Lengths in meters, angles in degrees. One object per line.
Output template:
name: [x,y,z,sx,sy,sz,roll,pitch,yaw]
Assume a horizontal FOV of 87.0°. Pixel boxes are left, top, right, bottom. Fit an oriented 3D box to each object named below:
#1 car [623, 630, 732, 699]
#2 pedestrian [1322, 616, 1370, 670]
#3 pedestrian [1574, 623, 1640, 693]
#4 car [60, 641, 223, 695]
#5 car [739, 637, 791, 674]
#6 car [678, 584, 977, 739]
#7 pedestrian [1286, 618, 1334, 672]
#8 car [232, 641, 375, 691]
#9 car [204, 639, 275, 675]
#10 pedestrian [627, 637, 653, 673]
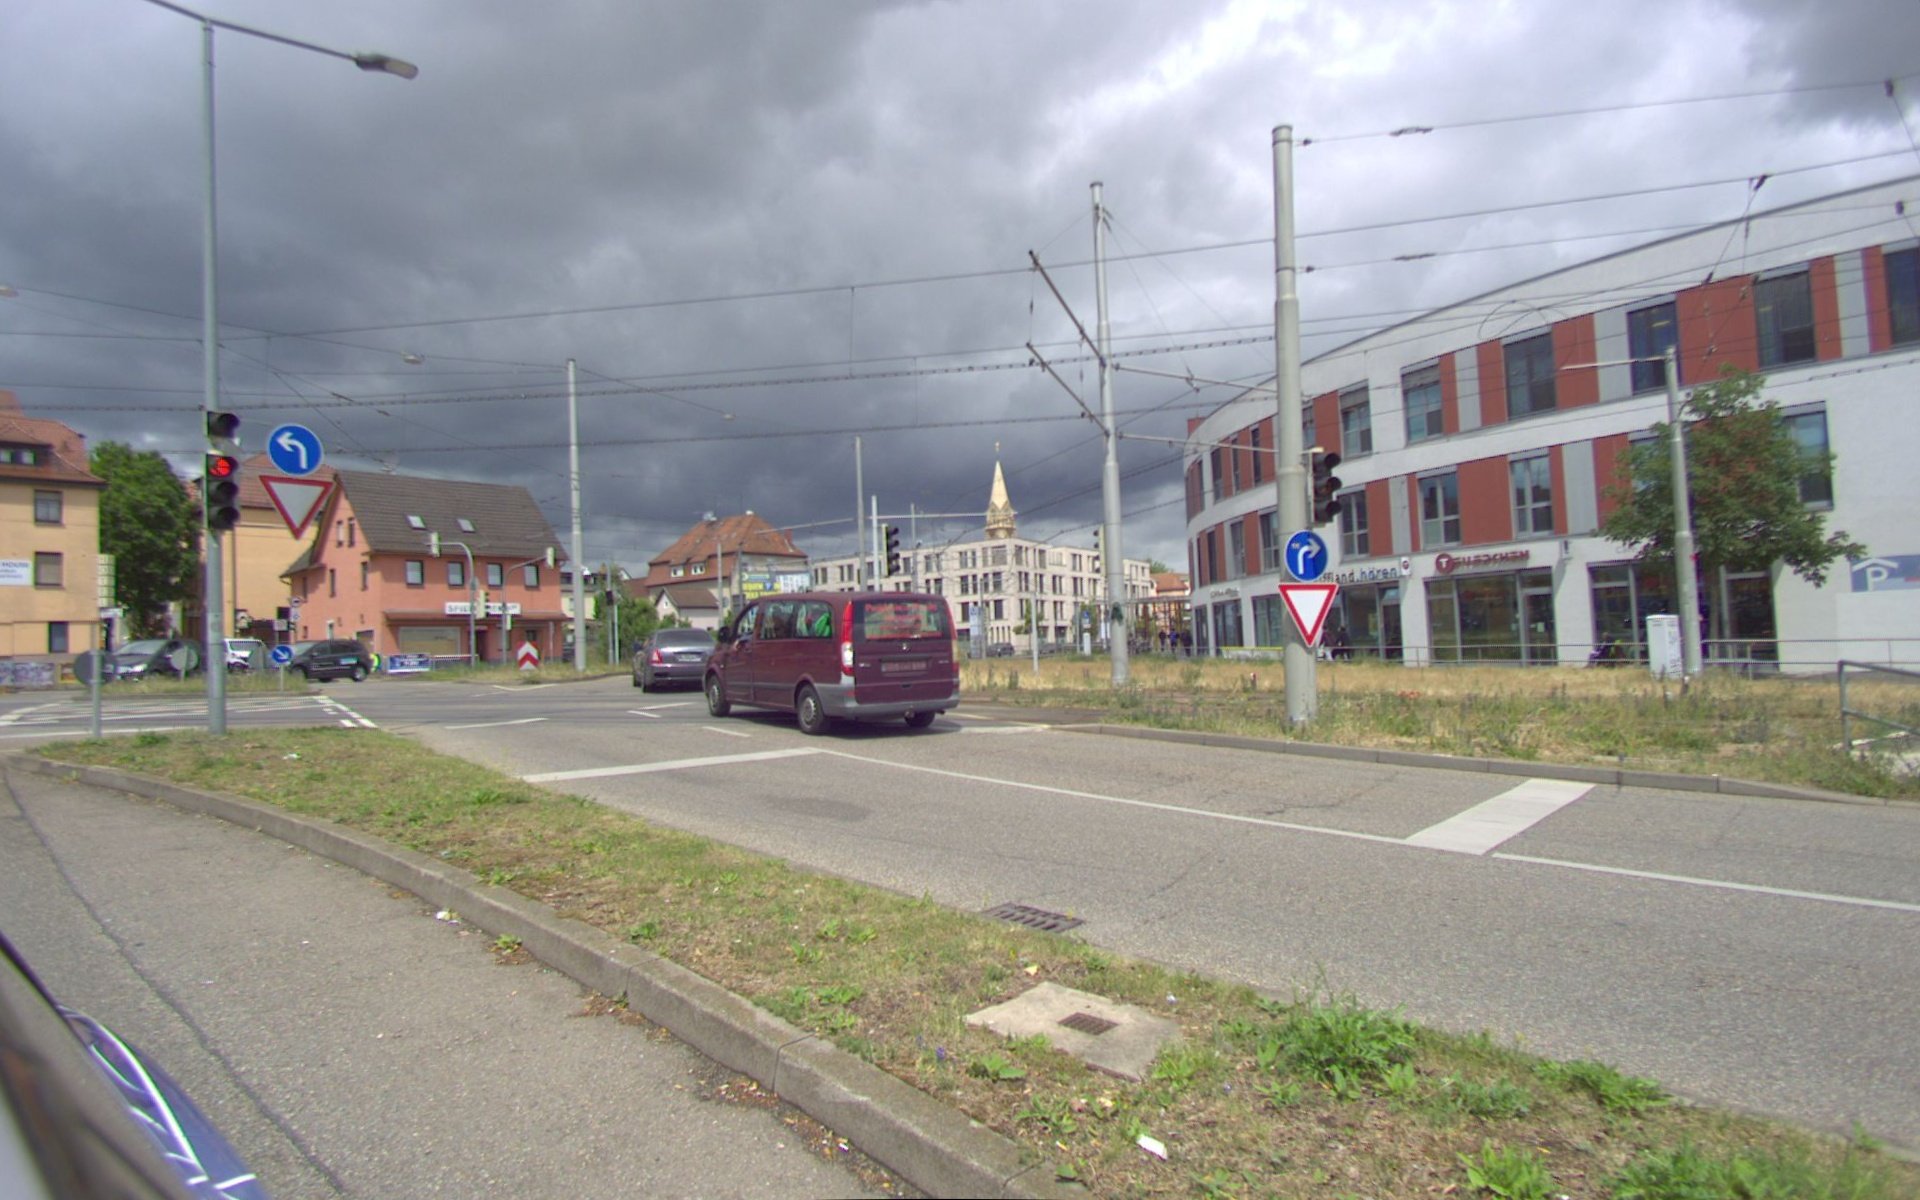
car: [-6.753,1.424,23.832,1.772,1.421,5.069,0,-2,-24]
pedestrian: [14.939,1.667,39.155,1.235,2.029,1.143,1,-3,-28]
pedestrian: [19.268,1.704,30.152,1.236,2.029,1.143,1,-3,-30]
car: [-24.593,2.040,30.609,1.856,1.440,4.002,-3,-3,-3]
car: [-8.894,2.520,46.447,1.784,1.592,4.299,-1,-2,-3]
car: [-2.115,0.786,14.566,1.968,1.836,5.082,0,-1,-38]
pedestrian: [13.445,1.723,38.914,1.235,2.029,1.143,1,-3,-28]
car: [-24.340,2.425,37.746,1.979,1.662,4.403,-4,-3,11]
car: [-40.433,3.212,56.746,4.657,1.912,2.054,-4,-2,39]
pedestrian: [-19.377,3.342,61.327,1.052,2.164,1.112,-4,-4,43]
